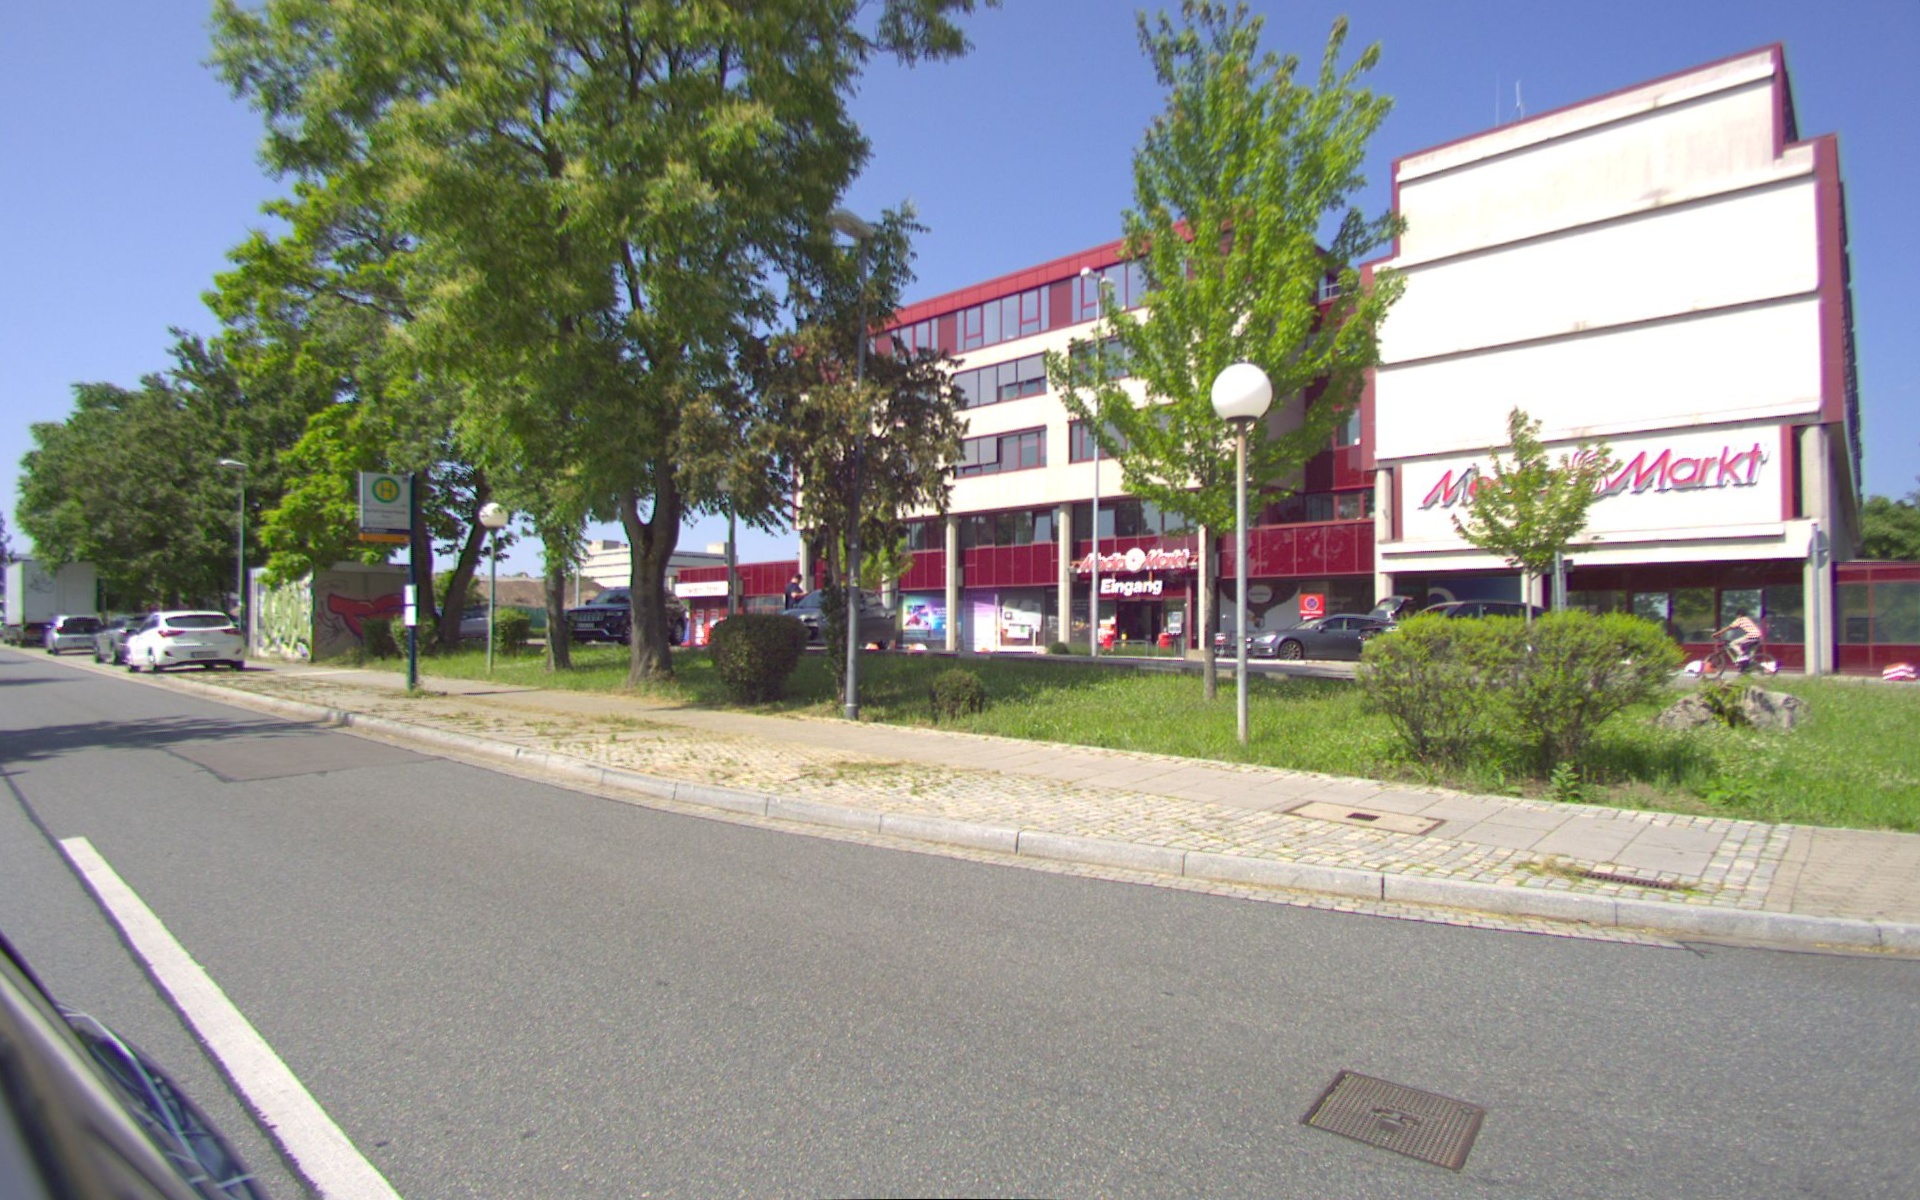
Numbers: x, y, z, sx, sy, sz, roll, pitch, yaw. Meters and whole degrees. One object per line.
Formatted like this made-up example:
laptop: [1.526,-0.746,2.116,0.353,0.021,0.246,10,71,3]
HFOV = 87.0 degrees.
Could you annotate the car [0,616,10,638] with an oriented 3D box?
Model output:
car: [-68.063,1.895,71.018,4.001,1.527,1.790,-1,-1,44]

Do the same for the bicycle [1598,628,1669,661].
bicycle: [18.434,1.208,27.743,0.718,0.799,1.842,0,0,1]

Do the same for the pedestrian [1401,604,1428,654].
pedestrian: [12.736,0.813,28.370,0.455,1.366,0.523,0,-1,-18]

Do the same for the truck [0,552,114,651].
truck: [-42.015,0.137,46.802,9.278,4.175,3.308,-1,-1,43]

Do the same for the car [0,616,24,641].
car: [-60.018,1.775,63.440,4.001,1.527,1.790,-1,-1,44]

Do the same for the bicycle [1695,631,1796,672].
bicycle: [18.700,1.214,24.153,0.716,0.855,1.848,0,0,-15]

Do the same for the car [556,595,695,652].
car: [-9.571,0.632,29.388,1.832,1.504,4.803,-1,0,9]

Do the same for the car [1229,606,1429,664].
car: [10.095,0.962,27.908,4.795,1.504,1.920,1,-2,-5]

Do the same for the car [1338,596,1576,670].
car: [12.414,0.872,25.423,5.032,1.606,2.192,2,-4,-11]

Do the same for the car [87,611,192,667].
car: [-24.188,1.120,29.785,3.998,1.527,1.791,-1,-1,41]

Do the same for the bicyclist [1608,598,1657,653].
bicyclist: [18.436,0.688,27.766,0.713,1.459,0.922,0,0,1]

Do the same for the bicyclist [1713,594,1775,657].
bicyclist: [18.696,0.588,24.155,0.711,1.459,0.925,0,0,-14]

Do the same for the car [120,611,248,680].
car: [-18.959,1.050,24.673,3.998,1.504,1.743,-1,0,41]

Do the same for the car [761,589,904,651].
car: [-2.901,0.435,23.945,1.706,1.348,3.962,-1,0,21]

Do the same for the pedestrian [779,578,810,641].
pedestrian: [-4.094,0.238,24.980,0.555,1.539,0.759,0,-2,-26]

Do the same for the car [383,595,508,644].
car: [-20.404,0.807,40.381,1.979,1.818,4.699,-1,-2,12]

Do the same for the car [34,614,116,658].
car: [-32.944,1.301,37.636,3.998,1.527,1.791,-1,-1,41]

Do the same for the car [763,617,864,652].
car: [-6.205,1.461,43.246,4.175,1.462,1.724,0,-1,-5]
